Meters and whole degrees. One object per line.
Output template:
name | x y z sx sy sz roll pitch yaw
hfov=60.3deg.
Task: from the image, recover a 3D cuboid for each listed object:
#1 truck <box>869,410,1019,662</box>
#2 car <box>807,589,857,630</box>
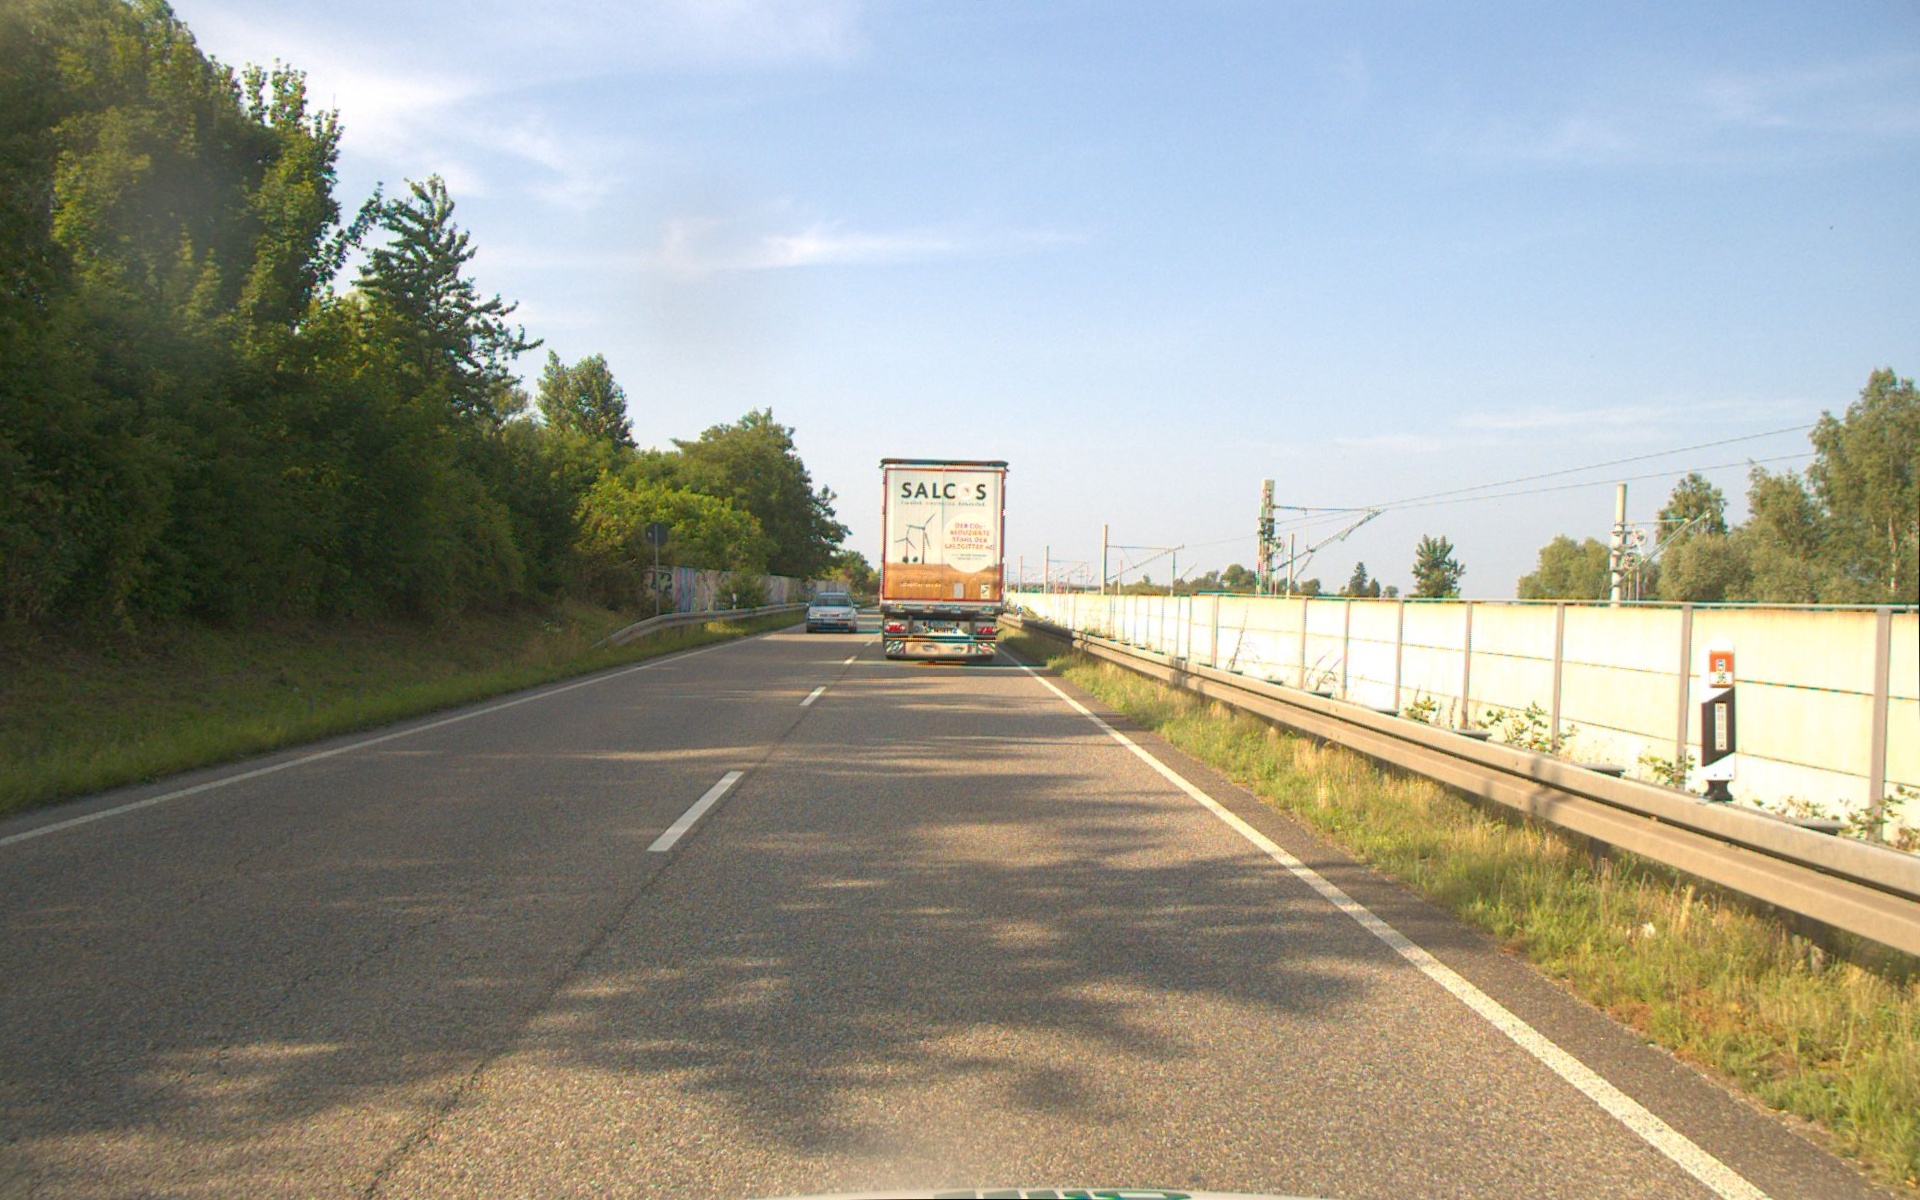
truck | -0.585 -1.325 38.969 2.972 5.006 11.678 1 0 -3
car | -4.570 0.335 59.474 1.685 1.418 4.358 1 0 -3
